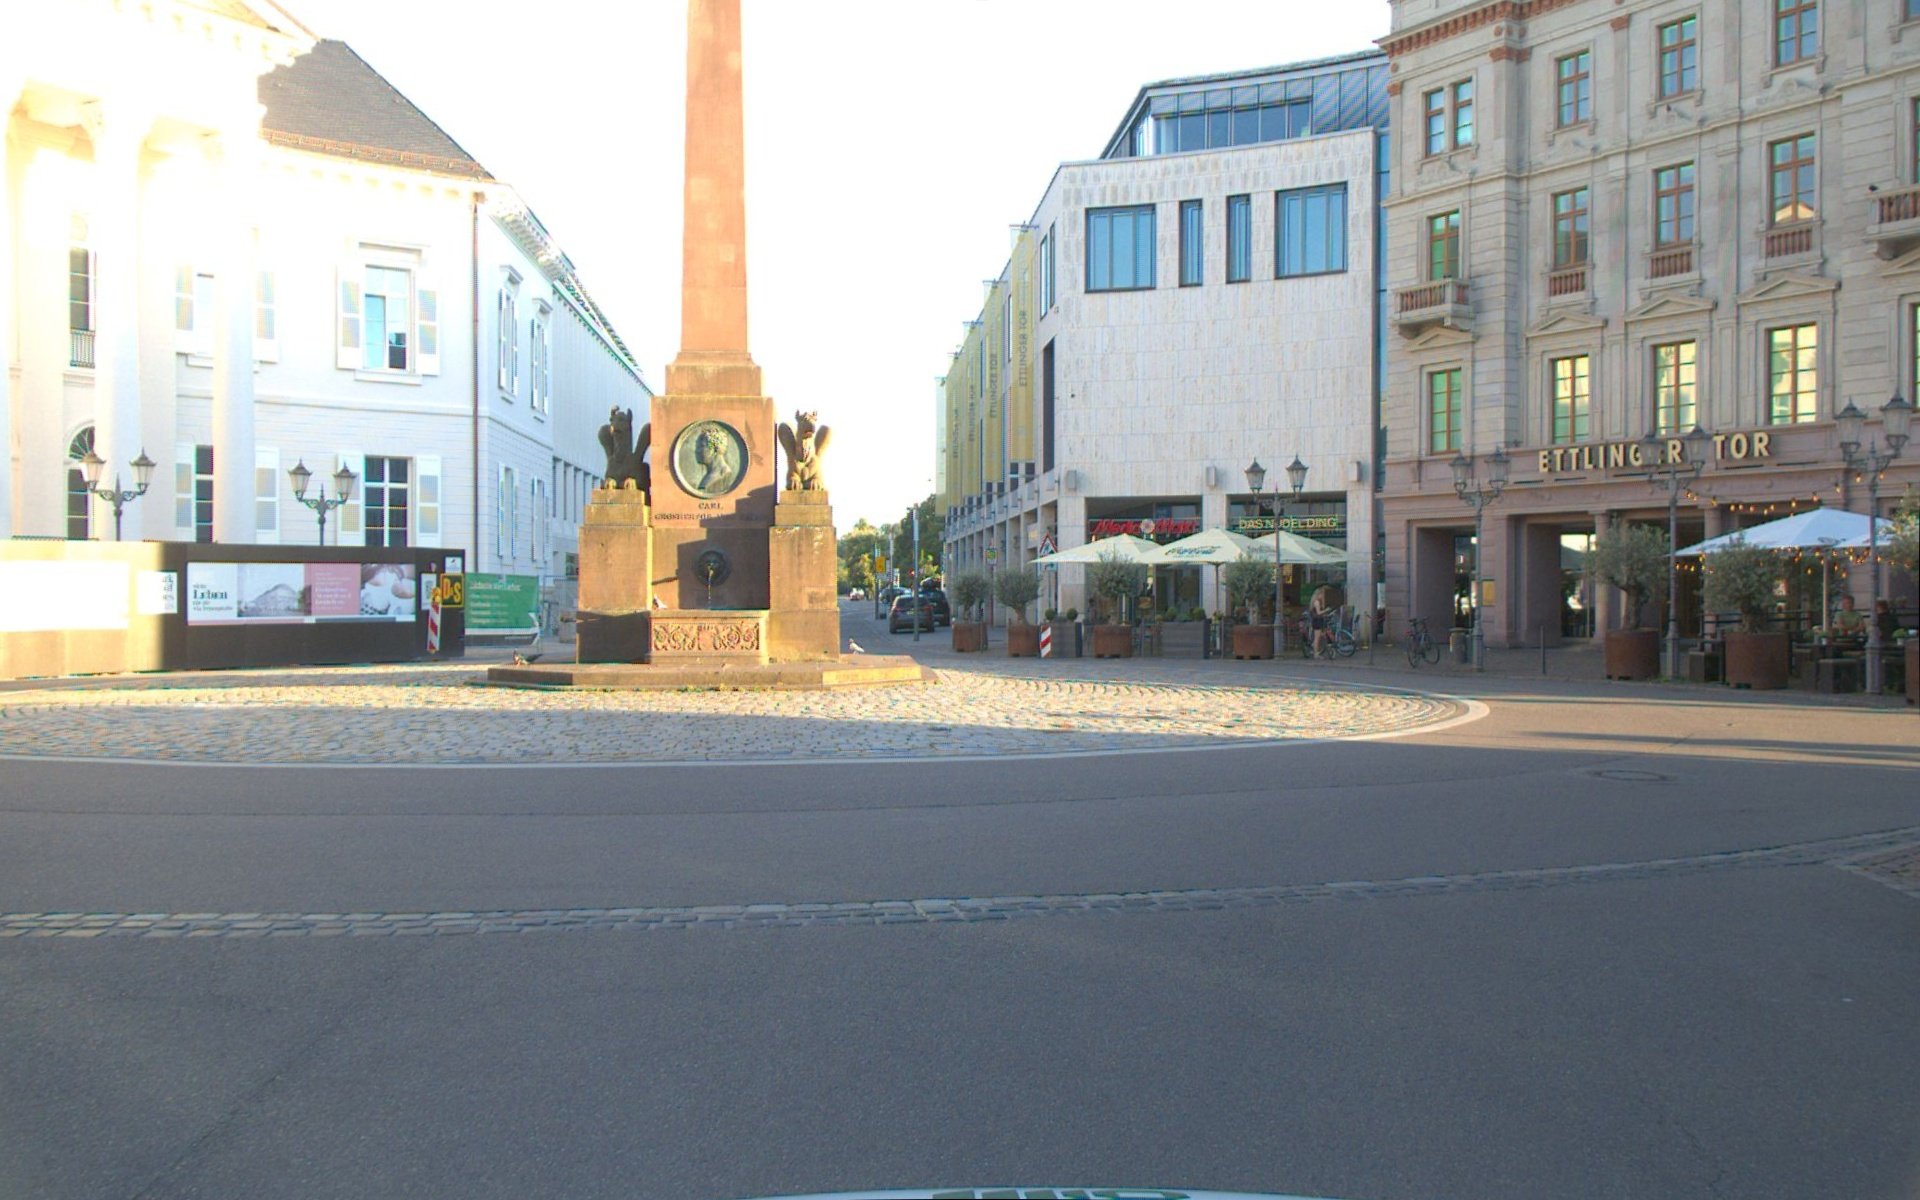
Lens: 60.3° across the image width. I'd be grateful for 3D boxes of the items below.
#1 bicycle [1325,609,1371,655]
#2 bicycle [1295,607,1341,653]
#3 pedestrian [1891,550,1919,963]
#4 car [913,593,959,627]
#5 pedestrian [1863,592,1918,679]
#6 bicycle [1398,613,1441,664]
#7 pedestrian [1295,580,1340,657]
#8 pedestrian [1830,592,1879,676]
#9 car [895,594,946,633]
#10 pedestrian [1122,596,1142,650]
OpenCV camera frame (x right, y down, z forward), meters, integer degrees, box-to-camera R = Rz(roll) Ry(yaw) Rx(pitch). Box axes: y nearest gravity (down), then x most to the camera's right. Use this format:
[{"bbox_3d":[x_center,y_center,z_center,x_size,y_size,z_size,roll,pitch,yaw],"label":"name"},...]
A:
[{"bbox_3d":[9.229,0.755,39.342,0.608,1.049,1.642,0,0,31],"label":"bicycle"},{"bbox_3d":[8.589,0.707,39.624,0.588,1.049,1.642,0,0,31],"label":"bicycle"},{"bbox_3d":[4.251,0.637,6.592,0.676,1.676,0.695,0,0,-5],"label":"pedestrian"},{"bbox_3d":[-1.101,0.420,75.157,1.954,1.489,3.998,0,0,-3],"label":"car"},{"bbox_3d":[16.313,0.613,28.999,0.575,1.504,0.684,0,0,-1],"label":"pedestrian"},{"bbox_3d":[9.996,0.818,35.957,0.497,1.049,1.642,0,0,31],"label":"bicycle"},{"bbox_3d":[8.240,0.426,38.165,0.885,1.759,0.850,0,0,4],"label":"pedestrian"},{"bbox_3d":[16.214,0.609,29.983,0.533,1.504,0.624,0,0,-3],"label":"pedestrian"},{"bbox_3d":[-1.608,0.516,66.632,1.954,1.489,3.998,0,0,-3],"label":"car"},{"bbox_3d":[4.560,0.610,43.792,0.495,1.422,0.496,0,0,11],"label":"pedestrian"}]
